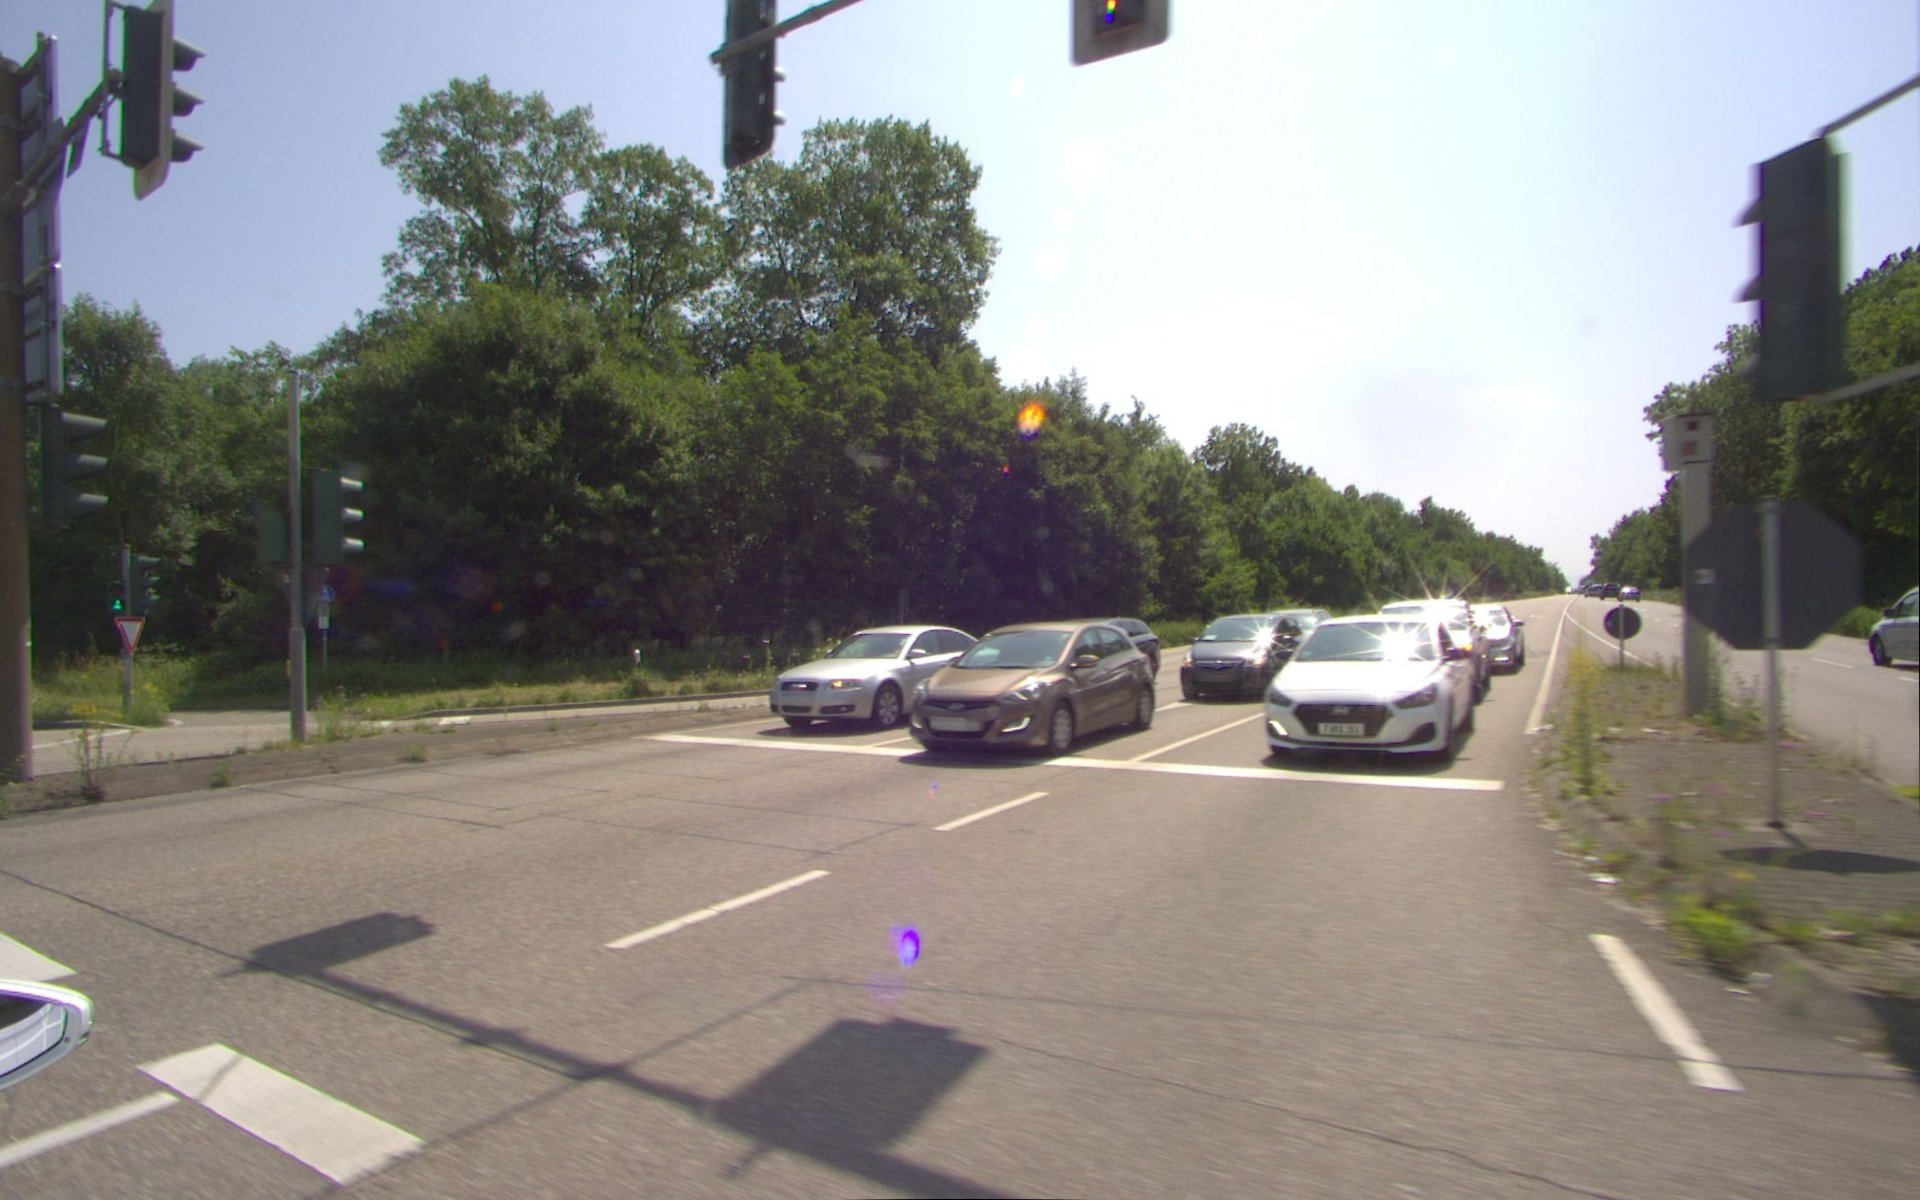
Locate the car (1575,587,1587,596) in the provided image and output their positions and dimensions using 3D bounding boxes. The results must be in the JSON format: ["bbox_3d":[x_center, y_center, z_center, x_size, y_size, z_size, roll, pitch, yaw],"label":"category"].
[{"bbox_3d":[108.068,-1.490,174.233,1.821,1.518,4.438,-1,-1,33],"label":"car"}]

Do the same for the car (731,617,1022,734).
[{"bbox_3d":[-1.104,1.062,15.795,1.992,1.518,4.921,-2,-1,33],"label":"car"}]

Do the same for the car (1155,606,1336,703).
[{"bbox_3d":[5.424,0.929,18.623,2.092,1.555,4.411,-2,-1,32],"label":"car"}]

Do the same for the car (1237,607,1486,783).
[{"bbox_3d":[4.703,0.872,11.292,1.971,1.555,4.412,-1,-1,31],"label":"car"}]

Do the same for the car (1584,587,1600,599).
[{"bbox_3d":[85.715,-0.933,135.865,1.821,1.518,4.438,-1,-1,33],"label":"car"}]

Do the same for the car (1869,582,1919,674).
[{"bbox_3d":[19.824,0.564,19.684,1.733,1.796,4.101,0,-1,25],"label":"car"}]

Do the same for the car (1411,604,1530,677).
[{"bbox_3d":[11.485,0.837,22.374,1.946,1.433,4.321,-1,0,33],"label":"car"}]

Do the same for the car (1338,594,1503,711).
[{"bbox_3d":[7.770,0.773,16.675,1.972,1.681,4.163,-1,0,32],"label":"car"}]

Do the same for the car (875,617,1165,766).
[{"bbox_3d":[0.928,0.968,12.372,1.966,1.466,4.086,-1,-1,30],"label":"car"}]

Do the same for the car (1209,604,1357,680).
[{"bbox_3d":[7.748,0.916,23.669,2.108,1.553,5.118,-2,-1,32],"label":"car"}]

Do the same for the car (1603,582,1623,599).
[{"bbox_3d":[71.915,-1.056,110.373,1.821,1.774,4.438,-1,0,33],"label":"car"}]

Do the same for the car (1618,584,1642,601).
[{"bbox_3d":[64.857,-0.716,97.017,1.821,1.518,4.438,-1,-1,33],"label":"car"}]

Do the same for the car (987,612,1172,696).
[{"bbox_3d":[2.644,1.050,21.070,2.082,1.518,4.607,-2,-1,32],"label":"car"}]
